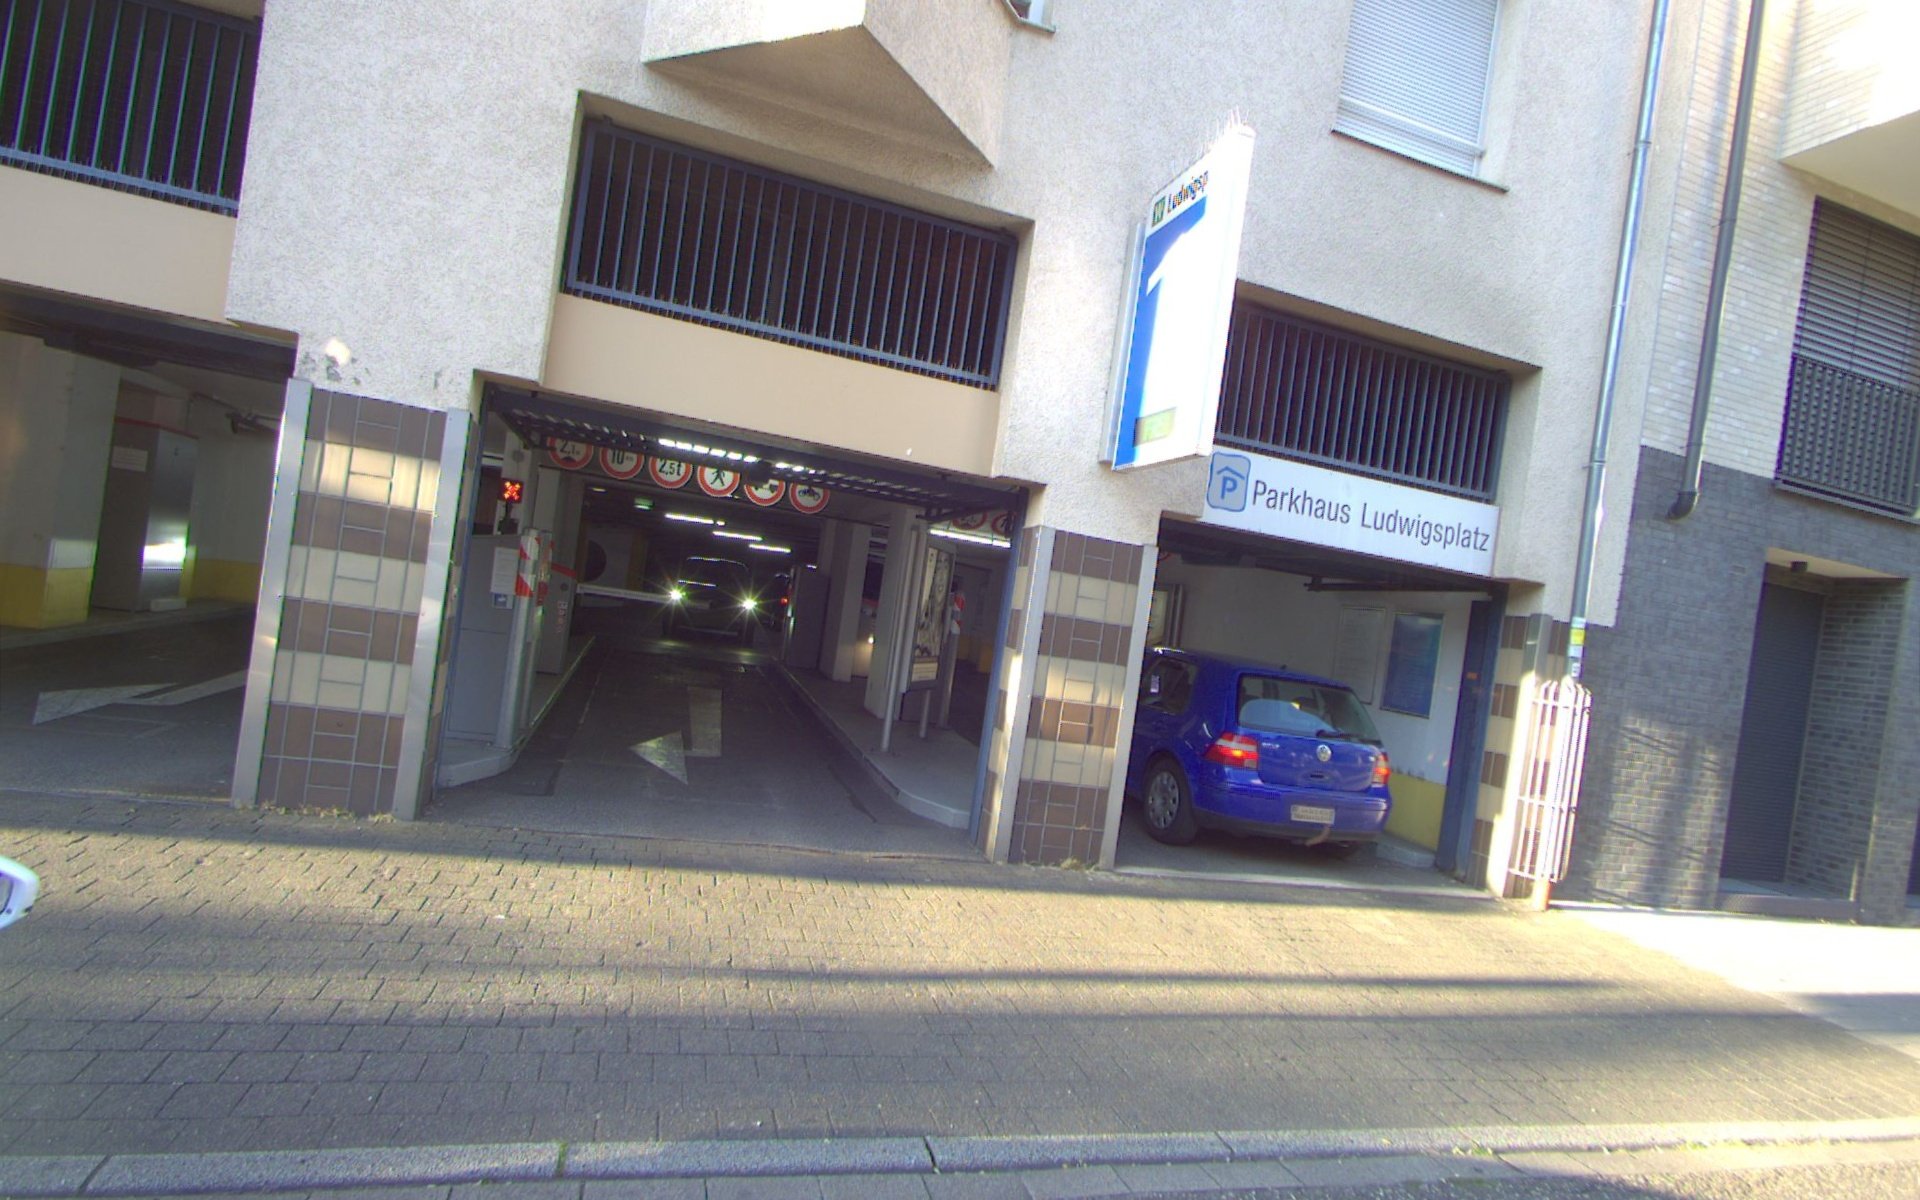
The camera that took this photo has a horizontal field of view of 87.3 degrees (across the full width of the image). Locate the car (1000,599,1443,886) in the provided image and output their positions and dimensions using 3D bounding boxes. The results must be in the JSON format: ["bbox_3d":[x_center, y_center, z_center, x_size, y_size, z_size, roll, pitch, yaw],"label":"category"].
[{"bbox_3d":[1.941,1.027,8.917,1.670,1.583,4.099,8,1,-18],"label":"car"}]

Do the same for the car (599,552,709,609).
[{"bbox_3d":[-10.728,-0.691,35.206,3.820,1.408,1.604,9,1,37],"label":"car"}]

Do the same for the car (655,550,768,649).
[{"bbox_3d":[-5.221,-0.026,21.674,1.860,1.643,4.292,9,-1,-10],"label":"car"}]

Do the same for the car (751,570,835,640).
[{"bbox_3d":[-5.062,0.099,30.155,1.540,1.638,3.860,8,1,-21],"label":"car"}]

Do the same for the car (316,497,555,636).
[{"bbox_3d":[-7.779,-0.476,15.428,1.788,1.592,4.243,8,0,-8],"label":"car"}]
